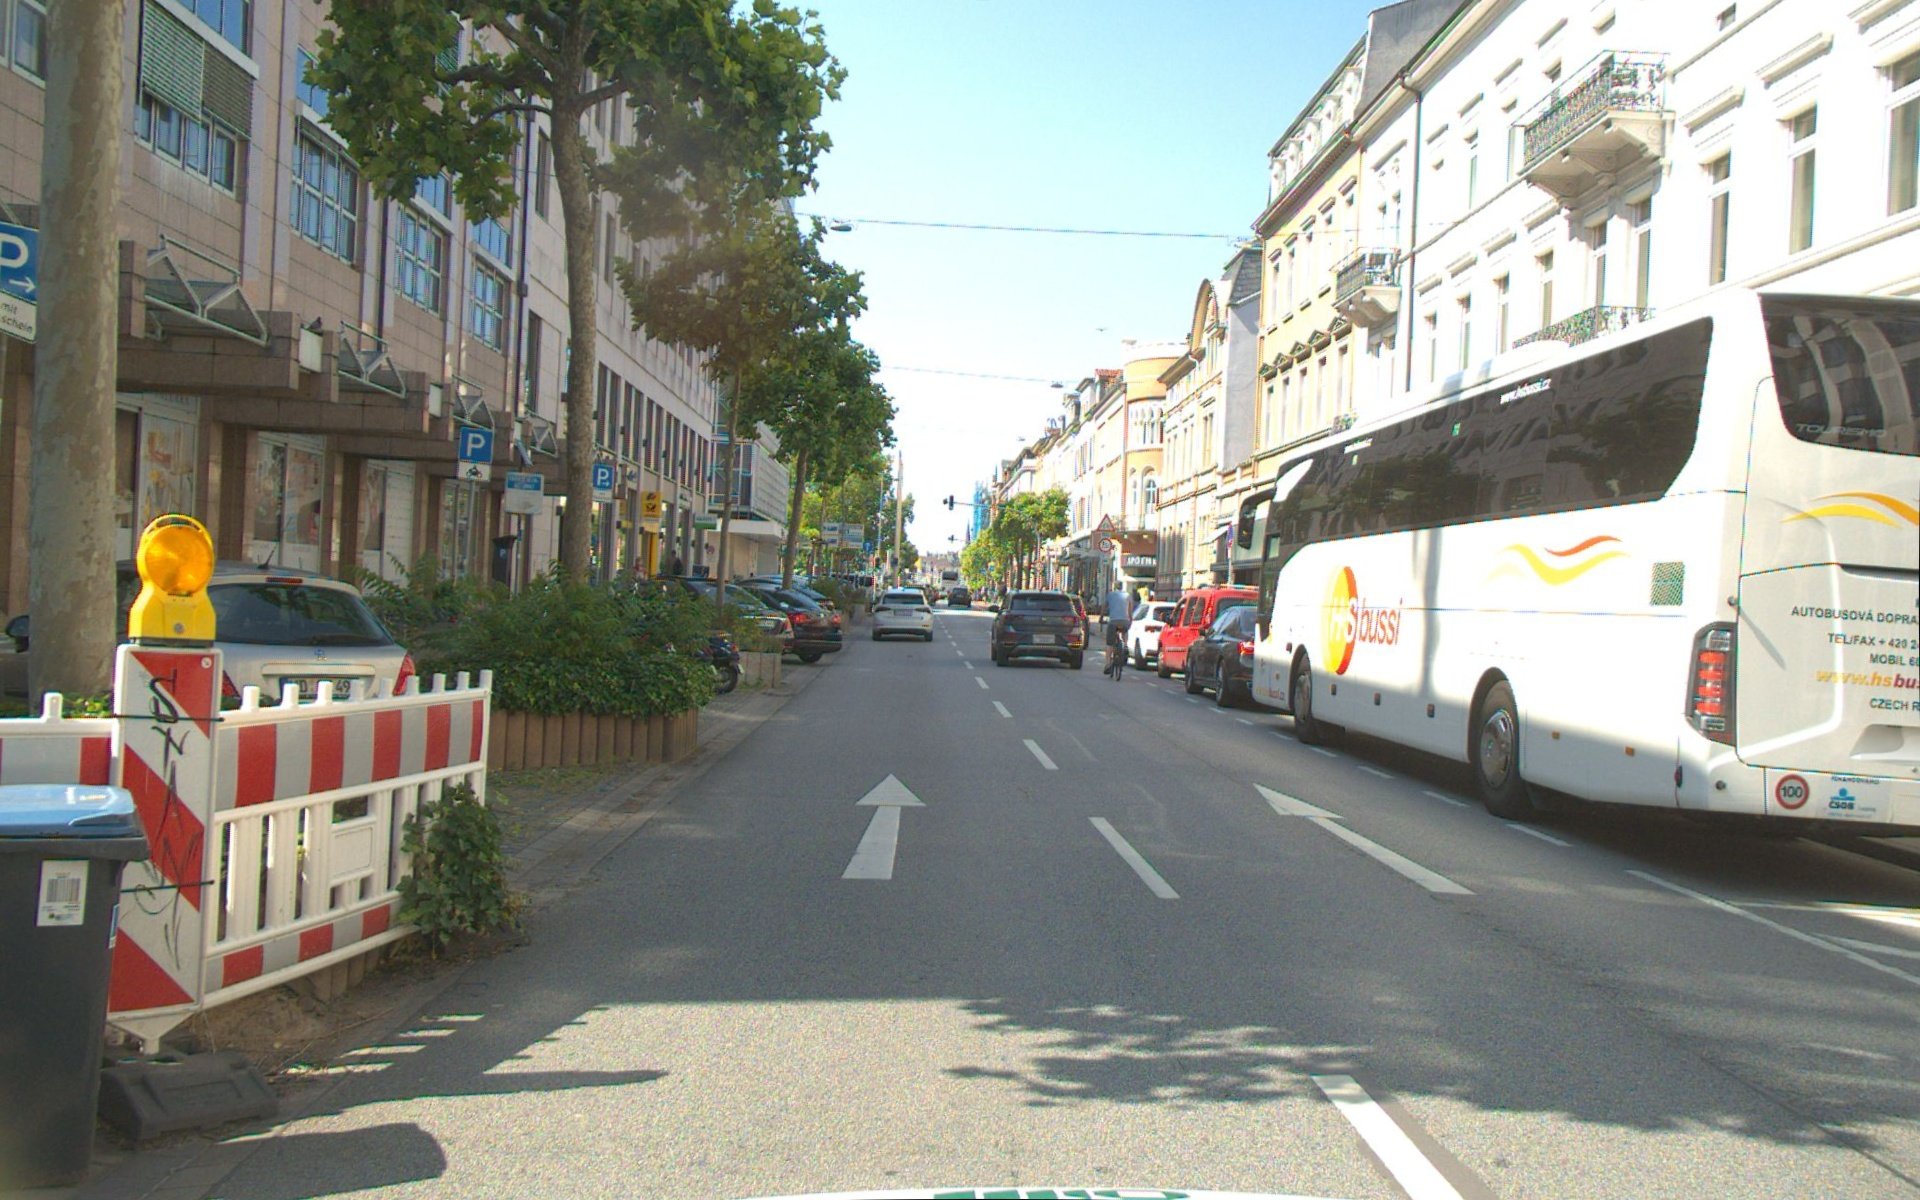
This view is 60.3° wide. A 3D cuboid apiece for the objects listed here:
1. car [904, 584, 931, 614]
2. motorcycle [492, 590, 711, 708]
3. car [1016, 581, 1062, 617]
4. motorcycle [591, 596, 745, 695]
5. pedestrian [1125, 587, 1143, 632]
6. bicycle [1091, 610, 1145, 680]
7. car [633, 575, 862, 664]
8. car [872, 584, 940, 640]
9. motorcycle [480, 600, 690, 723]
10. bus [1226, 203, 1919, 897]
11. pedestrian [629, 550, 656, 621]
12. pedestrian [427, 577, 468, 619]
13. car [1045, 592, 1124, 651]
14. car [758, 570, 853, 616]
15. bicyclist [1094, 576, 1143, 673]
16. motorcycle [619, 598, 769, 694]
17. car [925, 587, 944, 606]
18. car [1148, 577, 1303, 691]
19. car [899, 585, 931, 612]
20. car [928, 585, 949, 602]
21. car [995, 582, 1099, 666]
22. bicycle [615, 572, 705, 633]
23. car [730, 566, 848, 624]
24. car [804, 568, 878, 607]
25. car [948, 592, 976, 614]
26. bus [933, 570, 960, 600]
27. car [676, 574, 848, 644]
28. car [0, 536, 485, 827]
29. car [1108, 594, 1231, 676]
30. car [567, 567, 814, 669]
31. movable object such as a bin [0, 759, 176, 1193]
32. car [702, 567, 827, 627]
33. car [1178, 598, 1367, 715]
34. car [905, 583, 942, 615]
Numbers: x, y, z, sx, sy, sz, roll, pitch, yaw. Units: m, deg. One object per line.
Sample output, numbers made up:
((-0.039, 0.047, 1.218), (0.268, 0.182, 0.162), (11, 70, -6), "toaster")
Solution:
((-3.140, -0.053, 122.211), (1.826, 2.065, 3.998), (3, -1, -2), "car")
((-4.493, 0.594, 20.793), (2.297, 1.290, 1.294), (3, 1, 19), "motorcycle")
((3.445, -0.074, 72.704), (1.785, 1.409, 4.000), (2, 1, -1), "car")
((-3.927, 0.600, 22.253), (1.871, 1.190, 0.728), (3, 1, 19), "motorcycle")
((7.262, 0.409, 69.067), (0.638, 1.840, 0.729), (2, 0, 2), "pedestrian")
((2.880, 0.808, 30.400), (0.651, 1.139, 2.243), (4, 1, -1), "bicycle")
((-4.389, 0.375, 33.757), (4.708, 1.447, 1.874), (5, 1, 39), "car")
((-1.607, 0.326, 48.175), (1.826, 1.466, 3.998), (3, 1, -3), "car")
((-4.175, 0.658, 18.391), (2.130, 1.190, 0.919), (3, 1, 26), "motorcycle")
((5.296, -0.258, 15.556), (2.824, 3.806, 12.420), (4, 0, -3), "bus")
((-7.735, -0.352, 40.290), (0.555, 1.686, 0.635), (2, 0, -7), "pedestrian")
((-10.824, -0.043, 34.934), (0.554, 0.822, 0.774), (7, 0, -2), "pedestrian")
((3.553, 0.586, 47.653), (1.786, 1.433, 3.185), (5, 1, -3), "car")
((-6.671, -0.290, 71.771), (3.910, 1.525, 1.716), (7, 0, -4), "car")
((2.911, 0.445, 30.455), (0.680, 1.702, 0.915), (4, 1, -1), "bicyclist")
((-3.691, 0.625, 22.966), (1.871, 1.190, 0.760), (3, 1, 19), "motorcycle")
((-2.733, -0.375, 175.386), (1.825, 1.882, 3.998), (1, -2, -2), "car")
((4.946, 0.574, 31.468), (1.792, 1.895, 4.350), (4, 1, -5), "car")
((-2.584, -0.092, 93.922), (1.708, 1.466, 3.999), (2, 0, -2), "car")
((-2.088, -0.578, 158.382), (1.825, 1.466, 3.998), (1, -2, -2), "car")
((1.759, 0.467, 34.515), (1.796, 1.554, 3.999), (3, 0, -2), "car")
((-7.259, 0.063, 40.101), (2.027, 1.310, 0.367), (5, -1, -9), "bicycle")
((-6.362, -0.183, 61.457), (3.910, 1.594, 1.699), (8, 0, 24), "car")
((-7.837, -0.808, 108.616), (4.637, 2.037, 1.932), (6, 0, 39), "car")
((0.156, 0.219, 120.752), (1.825, 1.466, 3.998), (2, 0, -2), "car")
((-1.791, -1.987, 213.282), (2.716, 3.668, 8.965), (2, 0, -5), "bus")
((-5.233, 0.223, 43.365), (4.570, 1.432, 1.895), (5, 2, 42), "car")
((-5.221, 0.411, 11.188), (3.983, 1.520, 1.926), (4, 1, 40), "car")
((4.586, 0.719, 36.916), (1.777, 1.491, 4.577), (4, 1, -4), "car")
((-5.073, 0.311, 30.776), (4.672, 1.560, 1.979), (4, 1, 41), "car")
((-2.286, 0.915, 4.161), (0.547, 0.955, 0.496), (0, 1, -28), "movable object such as a bin")
((-6.477, -0.119, 55.059), (3.912, 1.525, 1.715), (7, 0, -6), "car")
((4.746, 0.795, 25.922), (1.822, 1.495, 5.224), (4, 0, -1), "car")
((-1.827, -0.079, 82.081), (1.708, 1.466, 3.999), (2, 0, -2), "car")
